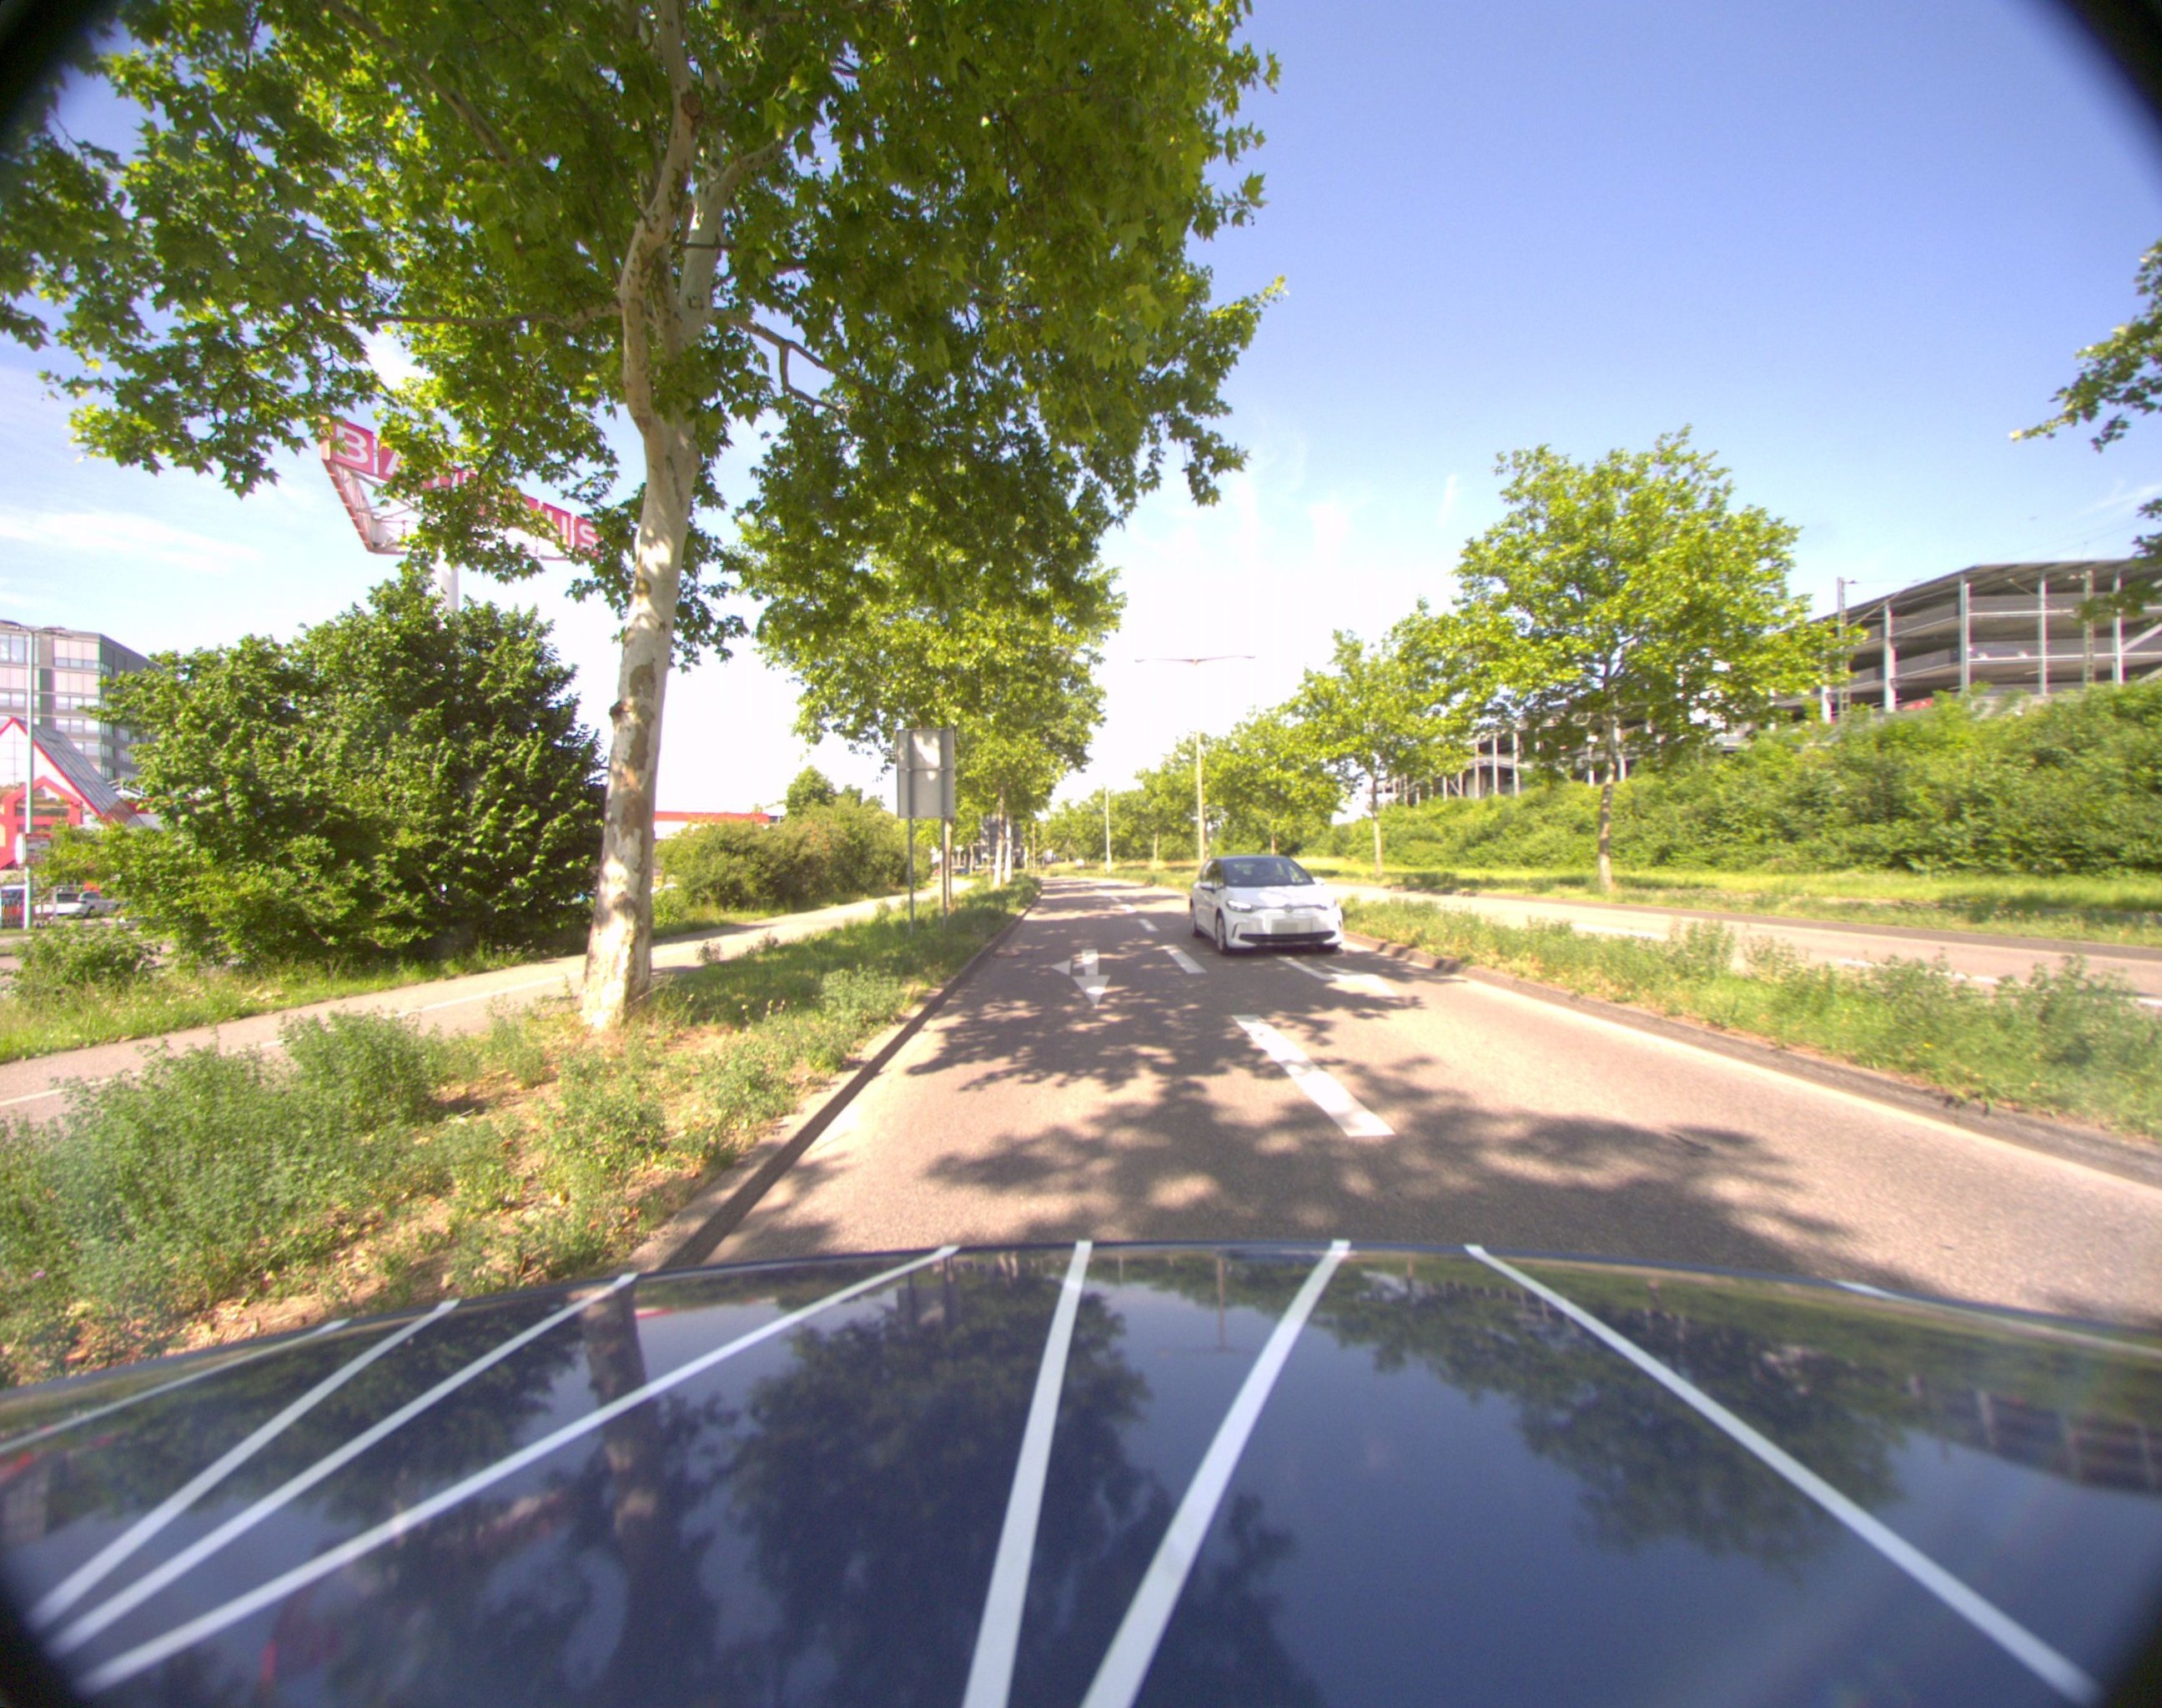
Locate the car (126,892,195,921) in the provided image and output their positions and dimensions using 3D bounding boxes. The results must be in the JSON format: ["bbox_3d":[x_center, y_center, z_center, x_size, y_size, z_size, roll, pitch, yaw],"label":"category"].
[{"bbox_3d":[-50.150,2.817,41.462,1.572,1.371,3.610,-2,0,-37],"label":"car"}]

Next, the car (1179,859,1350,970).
[{"bbox_3d":[2.904,0.878,12.988,1.824,1.512,4.208,-2,0,-1],"label":"car"}]

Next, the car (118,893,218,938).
[{"bbox_3d":[-35.977,2.376,30.059,1.784,1.477,3.779,-2,0,-39],"label":"car"}]

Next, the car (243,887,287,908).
[{"bbox_3d":[-60.441,3.229,56.339,1.572,1.371,3.610,-2,0,-37],"label":"car"}]

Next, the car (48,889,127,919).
[{"bbox_3d":[-51.964,2.595,39.812,1.572,1.371,3.610,-2,0,-37],"label":"car"}]
